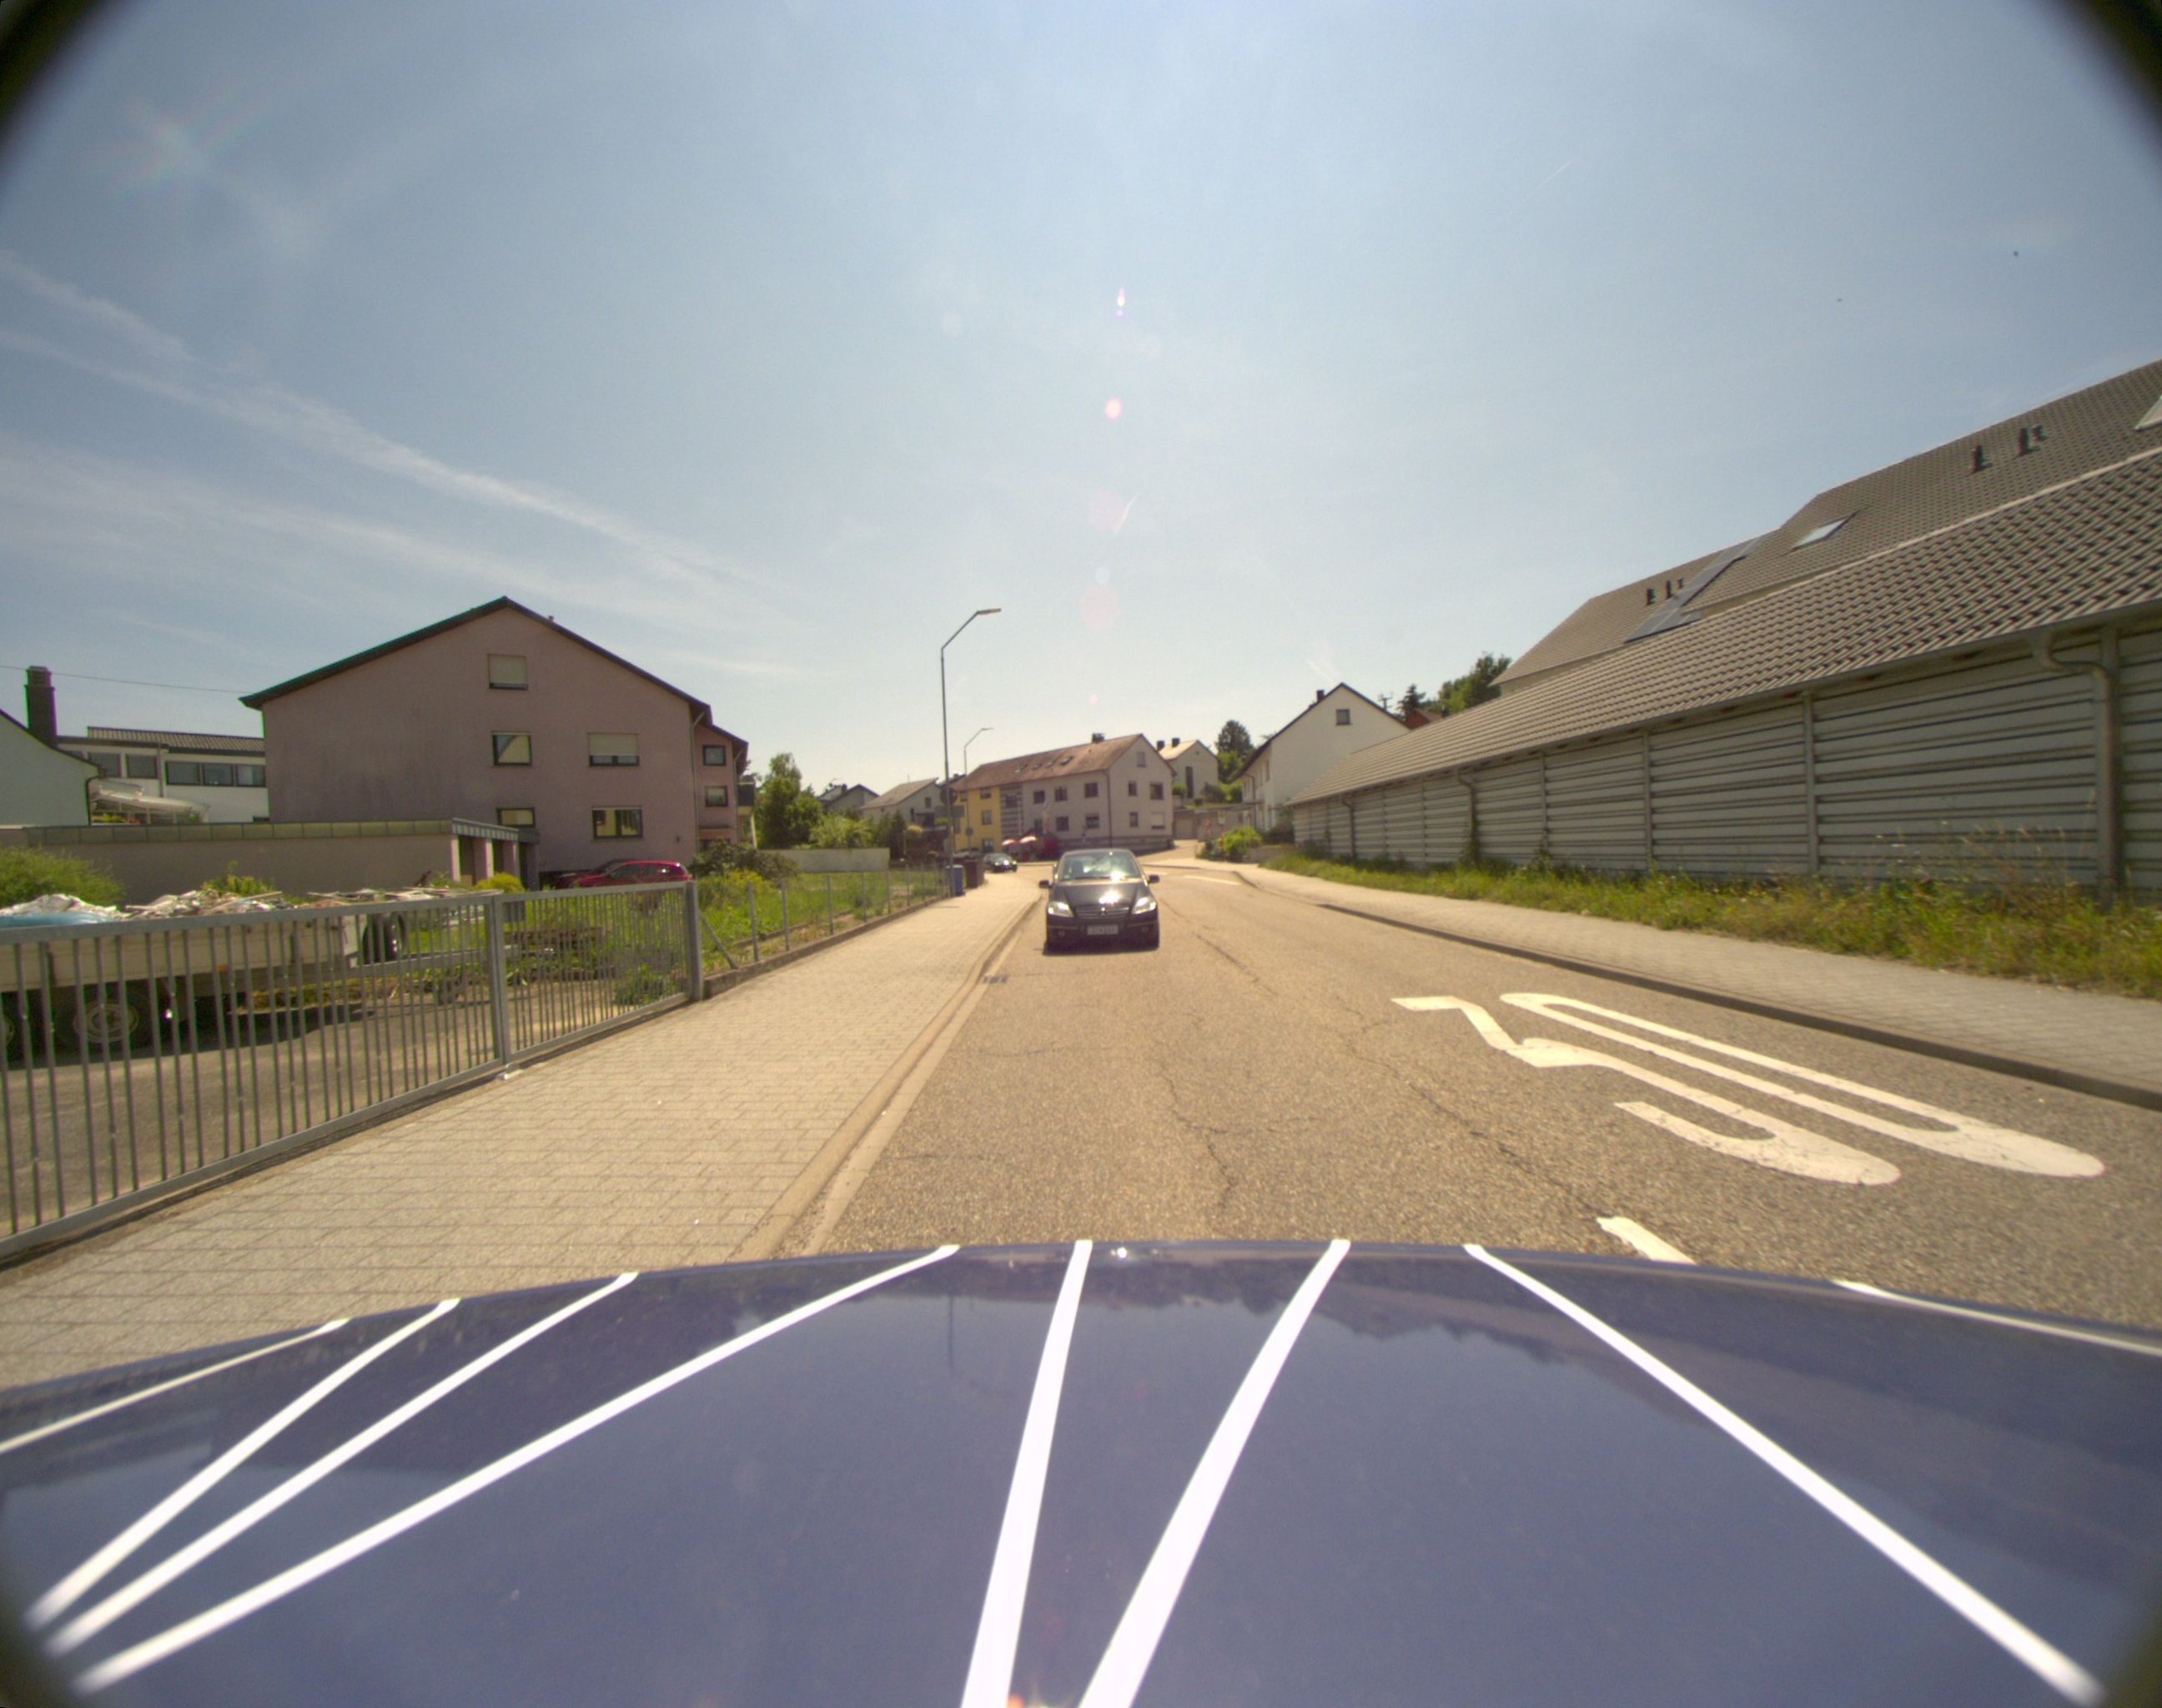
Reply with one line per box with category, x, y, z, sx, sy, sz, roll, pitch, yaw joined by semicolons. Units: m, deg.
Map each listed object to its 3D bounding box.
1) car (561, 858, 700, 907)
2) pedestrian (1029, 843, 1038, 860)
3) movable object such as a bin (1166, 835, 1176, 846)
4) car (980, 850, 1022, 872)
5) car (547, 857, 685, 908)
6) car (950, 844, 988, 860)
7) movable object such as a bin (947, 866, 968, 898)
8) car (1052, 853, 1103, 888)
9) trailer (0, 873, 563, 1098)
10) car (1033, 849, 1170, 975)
car;-15.297;0.917;26.042;3.842;1.477;1.758;-2;1;-23
pedestrian;-4.475;-0.208;71.436;0.613;1.578;0.808;-5;1;-11
movable object such as a bin;8.181;-1.216;69.219;0.599;0.929;0.601;-1;2;44
car;-5.880;0.534;55.327;1.900;1.368;3.993;-5;1;-23
car;-16.988;0.992;28.031;4.130;1.539;1.847;-4;2;-27
car;-11.700;-0.205;79.146;1.739;1.543;4.177;-5;2;-44
movable object such as a bin;-4.242;0.947;26.066;0.567;1.051;0.650;-3;2;-16
car;-0.225;0.696;34.133;1.814;1.307;3.997;-3;1;-6
trailer;-8.569;1.172;7.561;5.371;1.537;2.133;-4;2;-29
car;0.350;0.788;12.509;1.764;1.583;4.198;-4;1;2
